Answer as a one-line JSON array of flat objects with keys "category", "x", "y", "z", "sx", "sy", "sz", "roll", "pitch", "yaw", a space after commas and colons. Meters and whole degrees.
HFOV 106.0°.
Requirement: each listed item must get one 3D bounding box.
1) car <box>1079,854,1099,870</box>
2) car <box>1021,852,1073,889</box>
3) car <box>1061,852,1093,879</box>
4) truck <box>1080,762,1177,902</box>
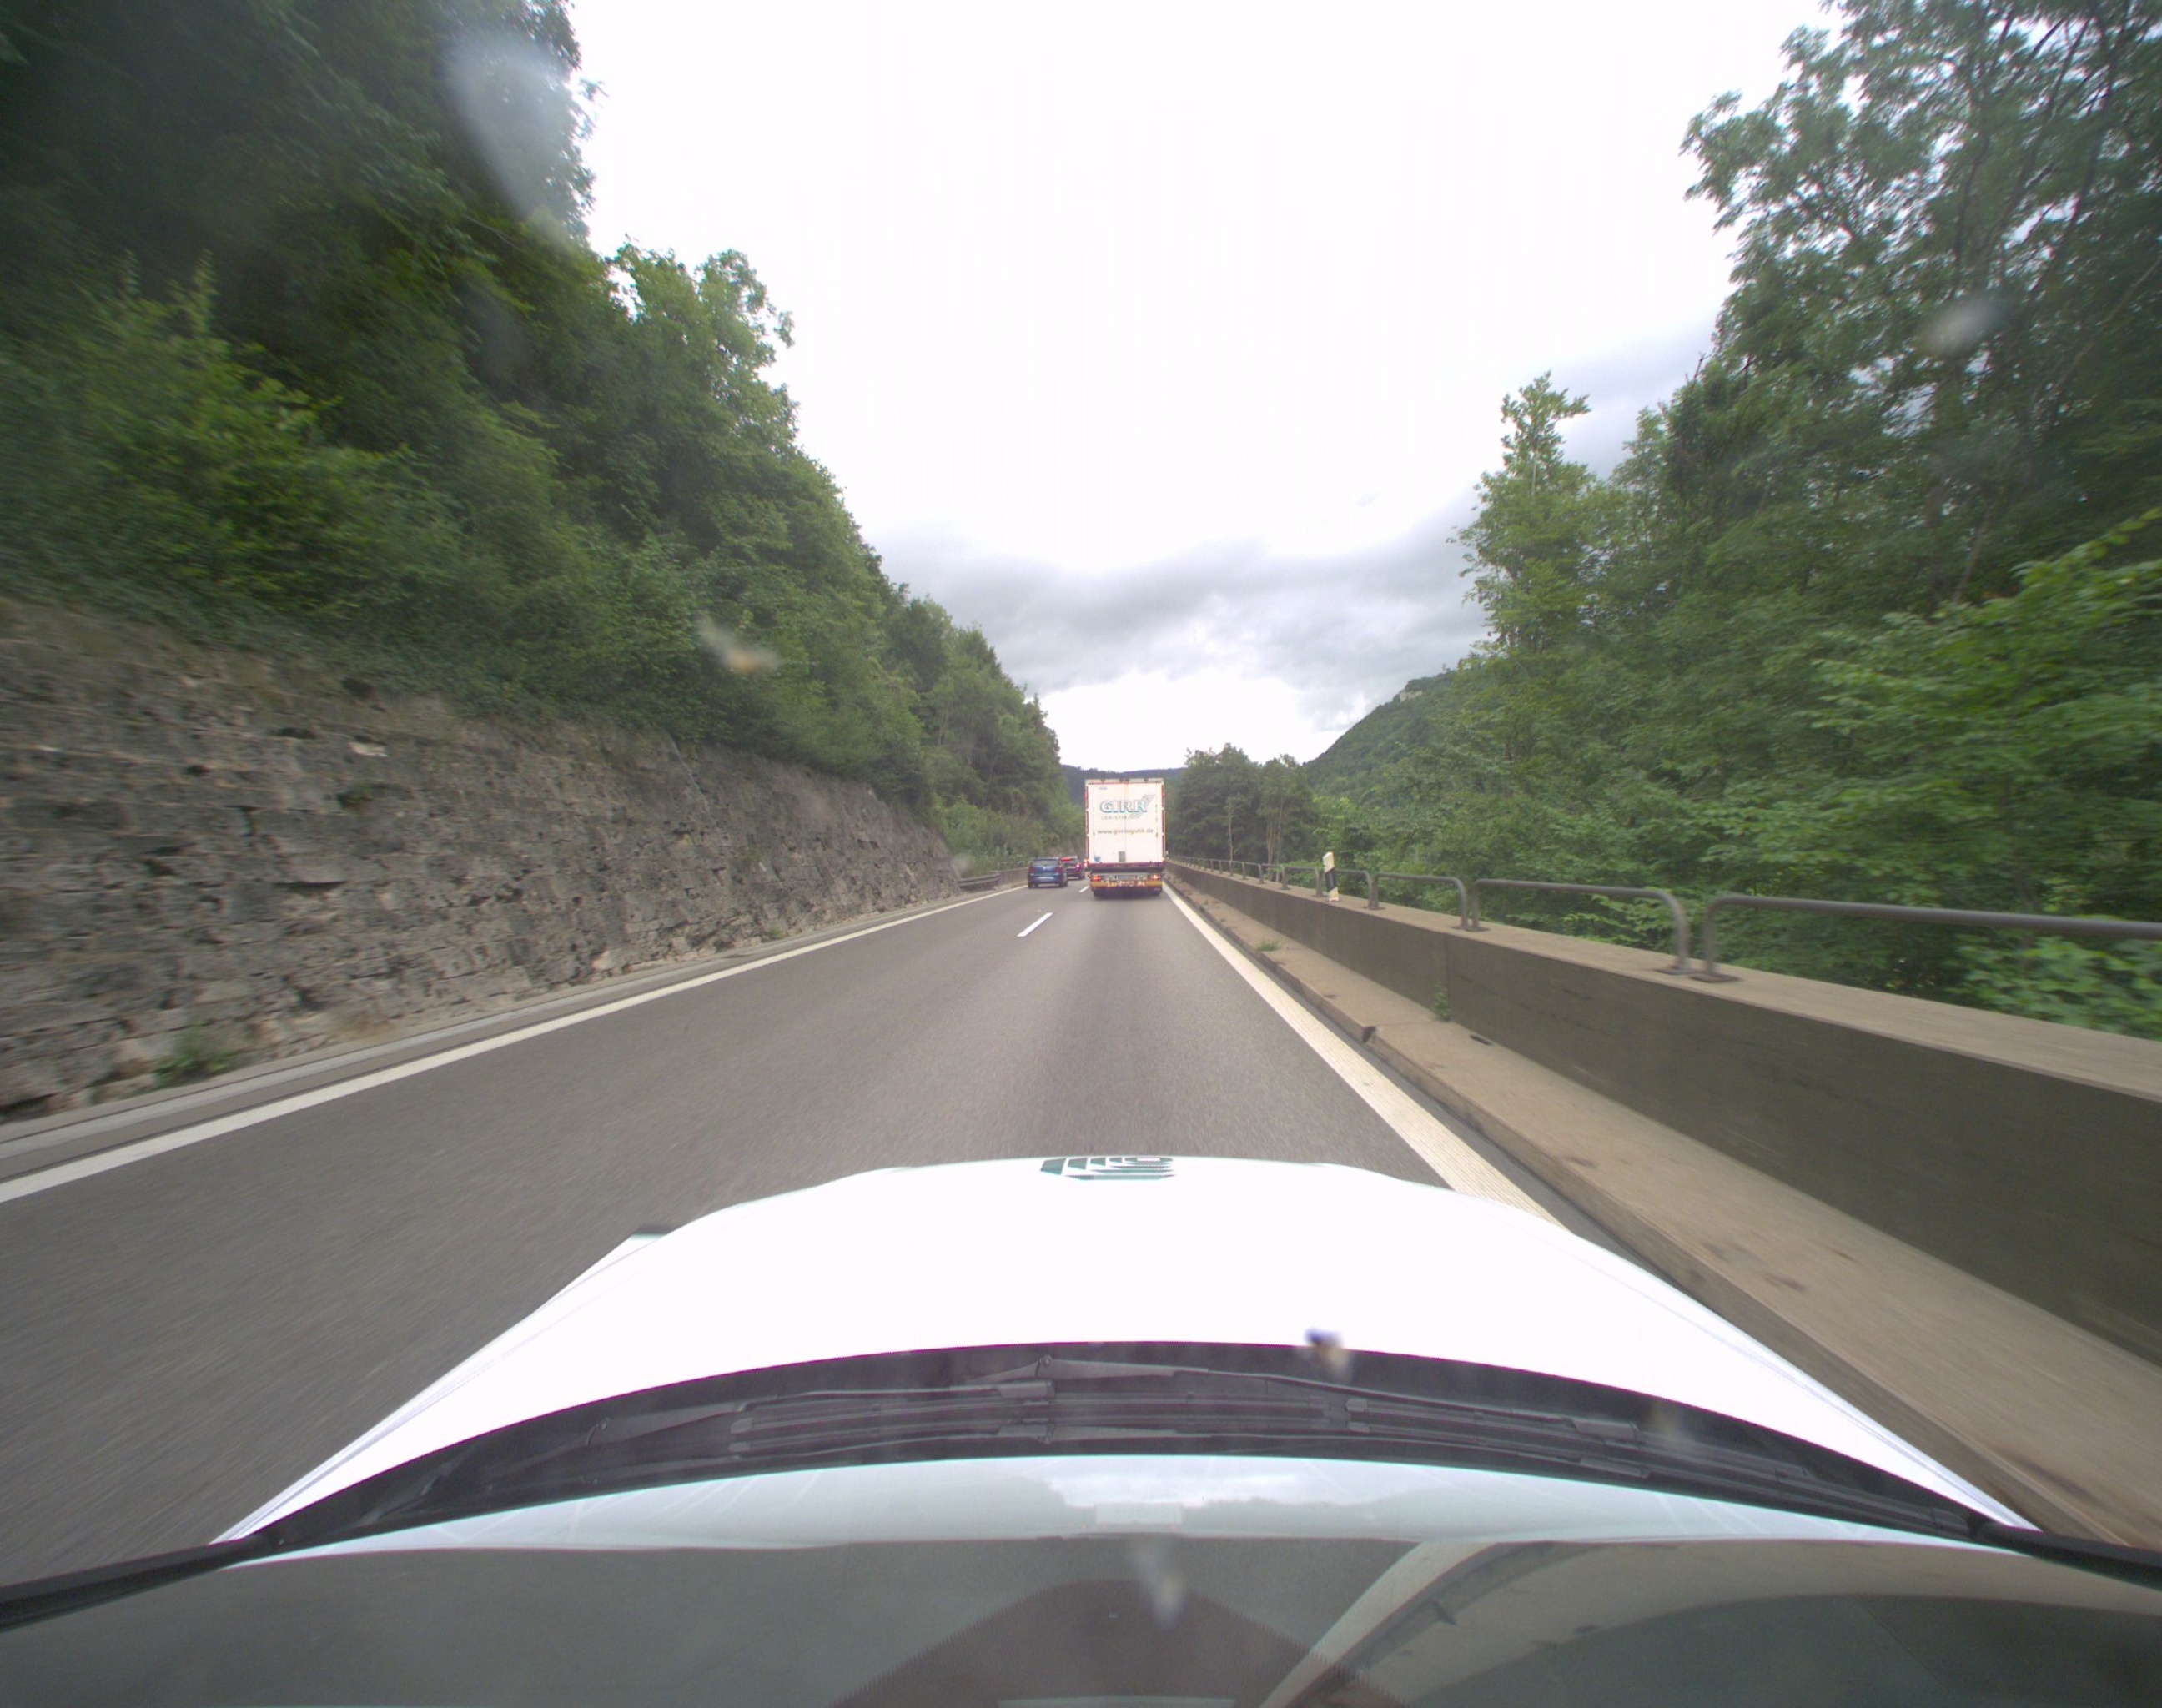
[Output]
[{"category": "car", "x": 0.814, "y": 0.827, "z": 80.211, "sx": 1.738, "sy": 1.486, "sz": 4.002, "roll": -1, "pitch": -1, "yaw": 3}, {"category": "car", "x": -1.564, "y": 0.746, "z": 38.967, "sx": 1.985, "sy": 1.596, "sz": 4.358, "roll": -1, "pitch": 0, "yaw": 4}, {"category": "car", "x": -0.230, "y": 0.708, "z": 50.590, "sx": 1.738, "sy": 1.587, "sz": 4.003, "roll": -1, "pitch": 0, "yaw": 3}, {"category": "truck", "x": 2.070, "y": -0.809, "z": 33.680, "sx": 3.071, "sy": 4.463, "sz": 15.173, "roll": 1, "pitch": 1, "yaw": 4}]
